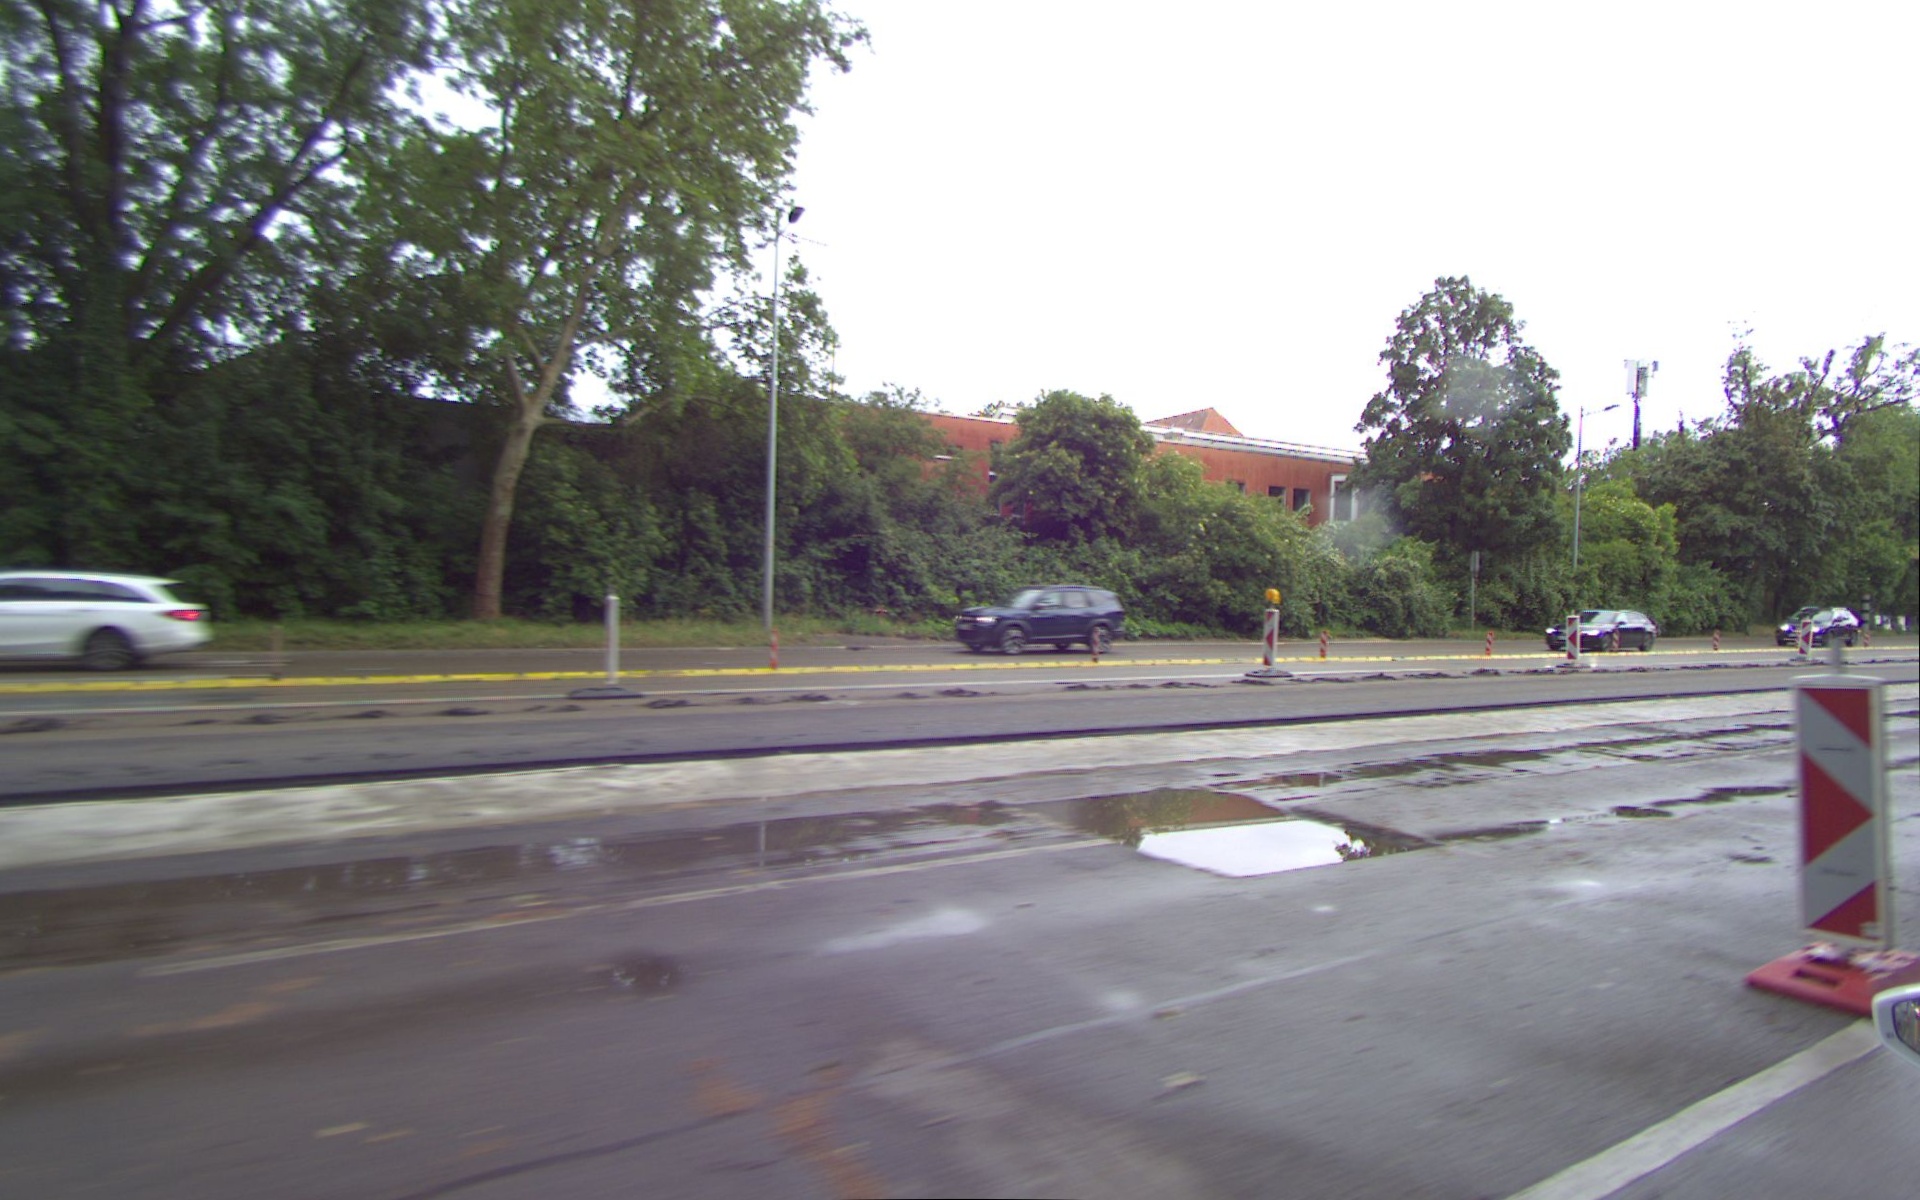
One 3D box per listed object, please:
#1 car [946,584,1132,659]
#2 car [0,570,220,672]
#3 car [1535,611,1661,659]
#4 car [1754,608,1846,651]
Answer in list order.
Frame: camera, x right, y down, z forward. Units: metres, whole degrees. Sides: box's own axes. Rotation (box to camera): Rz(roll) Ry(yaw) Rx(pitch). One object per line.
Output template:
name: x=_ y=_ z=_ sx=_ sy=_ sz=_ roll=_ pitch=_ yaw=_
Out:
car: x=2.008 y=0.511 z=25.033 sx=4.481 sy=1.708 sz=1.644 roll=1 pitch=1 yaw=-31
car: x=-14.053 y=0.283 z=15.073 sx=4.550 sy=1.439 sz=1.808 roll=1 pitch=1 yaw=-31
car: x=21.945 y=1.188 z=34.497 sx=4.846 sy=1.503 sz=1.750 roll=1 pitch=0 yaw=-32
car: x=36.385 y=1.278 z=43.464 sx=4.443 sy=1.745 sz=1.725 roll=1 pitch=1 yaw=-32
